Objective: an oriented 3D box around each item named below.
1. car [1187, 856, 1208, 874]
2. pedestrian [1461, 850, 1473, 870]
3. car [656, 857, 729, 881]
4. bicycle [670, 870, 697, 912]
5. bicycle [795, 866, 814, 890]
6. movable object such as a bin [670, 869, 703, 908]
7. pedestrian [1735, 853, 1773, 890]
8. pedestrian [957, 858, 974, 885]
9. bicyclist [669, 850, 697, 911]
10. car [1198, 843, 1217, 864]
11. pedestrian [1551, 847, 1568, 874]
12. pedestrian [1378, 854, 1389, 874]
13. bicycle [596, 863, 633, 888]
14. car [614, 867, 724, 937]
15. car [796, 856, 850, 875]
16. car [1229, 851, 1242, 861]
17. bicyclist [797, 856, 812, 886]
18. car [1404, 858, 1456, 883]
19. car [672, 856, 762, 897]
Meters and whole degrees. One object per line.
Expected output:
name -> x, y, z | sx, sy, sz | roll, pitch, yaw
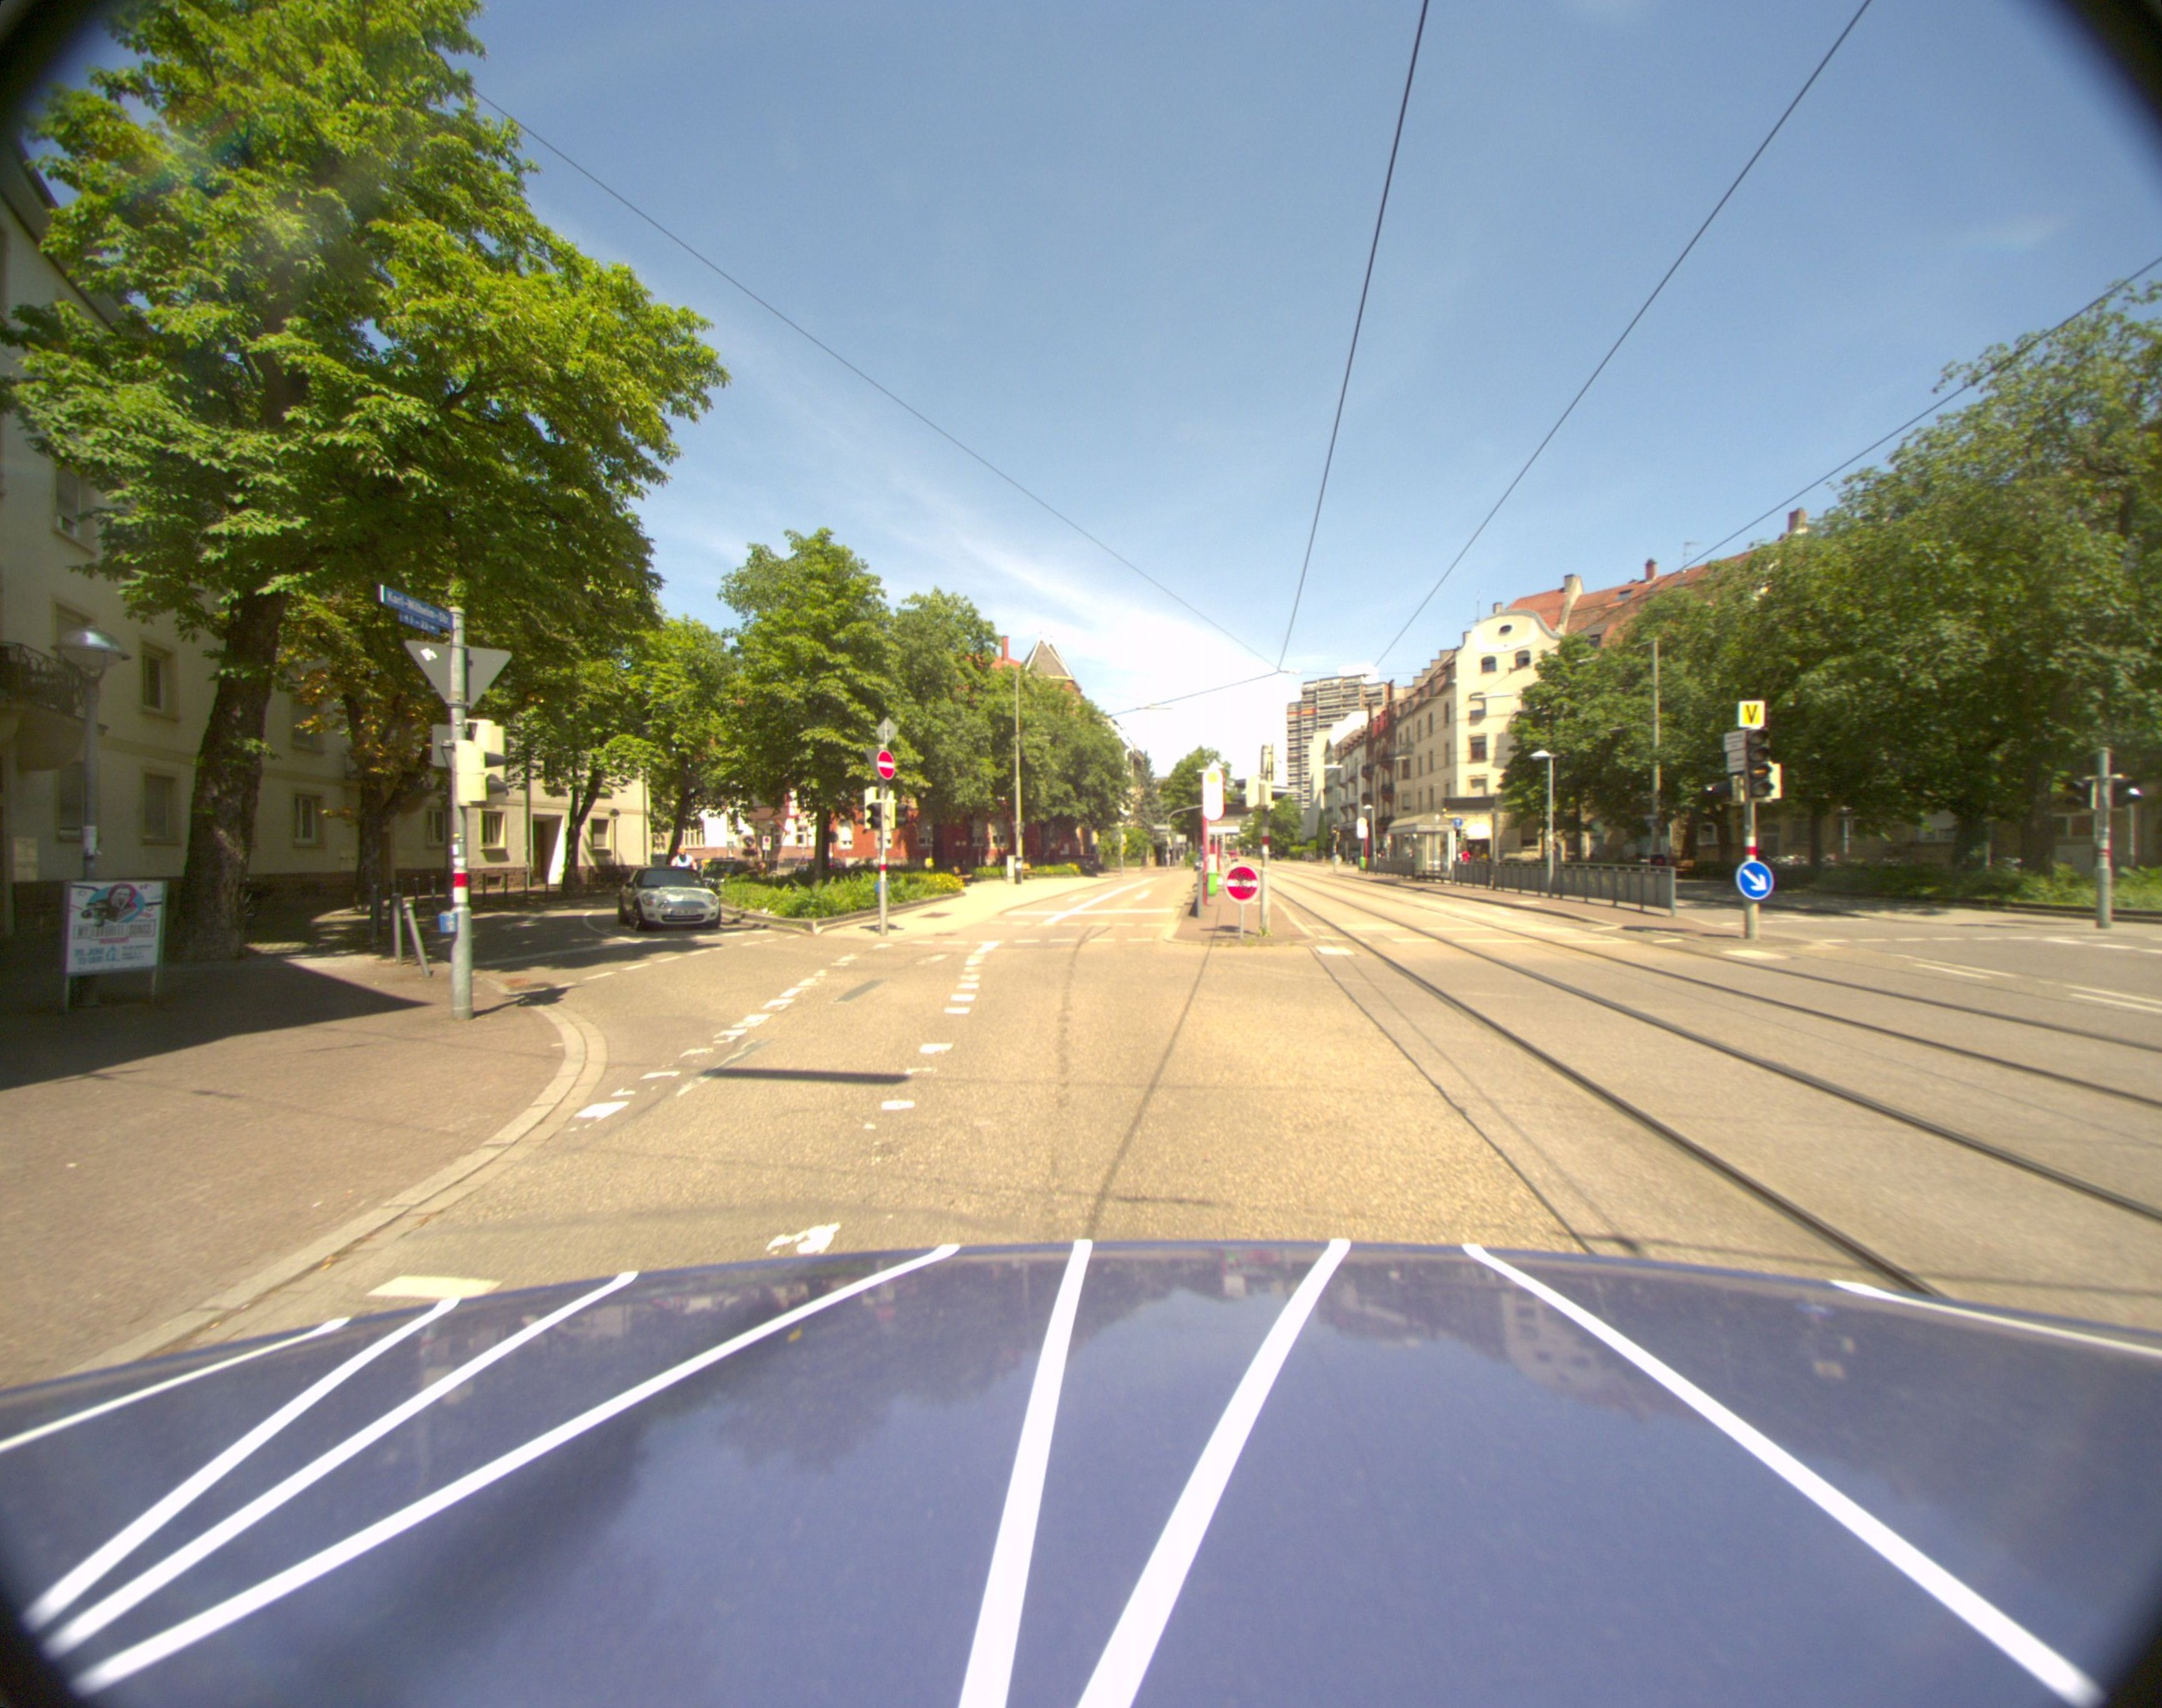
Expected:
car -> 10.384, 0.918, 67.937 | 1.736, 1.543, 4.427 | 0, 0, 8
pedestrian -> 27.443, 0.431, 54.036 | 0.536, 1.433, 0.521 | 0, 1, 0
car -> -27.227, 1.015, 53.374 | 1.640, 1.554, 4.327 | 0, 0, 31
bicycle -> -11.726, 1.066, 22.447 | 0.682, 1.148, 1.800 | -1, 0, -27
bicycle -> -15.217, 1.299, 41.837 | 0.640, 1.285, 1.929 | -1, 0, -11
movable object such as a bin -> -12.486, 1.060, 24.062 | 0.869, 1.148, 1.760 | -1, 0, -27
pedestrian -> 24.391, 0.631, 27.560 | 0.822, 1.309, 0.653 | -1, 1, 16
pedestrian -> -5.028, 0.770, 33.086 | 0.652, 1.143, 0.643 | -1, 1, -6
bicyclist -> -11.750, 0.755, 22.470 | 0.700, 1.756, 0.862 | -1, 1, -27
car -> 15.610, -0.039, 94.023 | 2.235, 2.478, 5.269 | 0, 1, 8
pedestrian -> 25.019, 0.336, 39.725 | 0.536, 1.433, 0.521 | 0, 1, 0
pedestrian -> 26.343, 0.866, 66.208 | 0.808, 1.710, 0.764 | 0, 1, 26
bicycle -> -22.582, 1.009, 36.803 | 0.515, 1.148, 1.934 | -1, 0, 2
car -> -9.683, 1.044, 17.729 | 1.699, 1.437, 3.617 | 2, -1, -37
car -> -20.579, 0.911, 60.588 | 4.307, 1.443, 1.648 | -1, 0, 29
car -> 25.182, 0.321, 124.067 | 1.736, 1.543, 4.427 | 0, 0, 8
bicyclist -> -15.213, 0.914, 41.849 | 0.640, 1.614, 0.862 | -1, 1, -11
car -> 19.127, 0.874, 41.804 | 1.695, 1.302, 3.851 | -1, 0, 10
car -> -14.996, 0.895, 31.567 | 1.612, 1.554, 4.067 | -1, 0, 3
